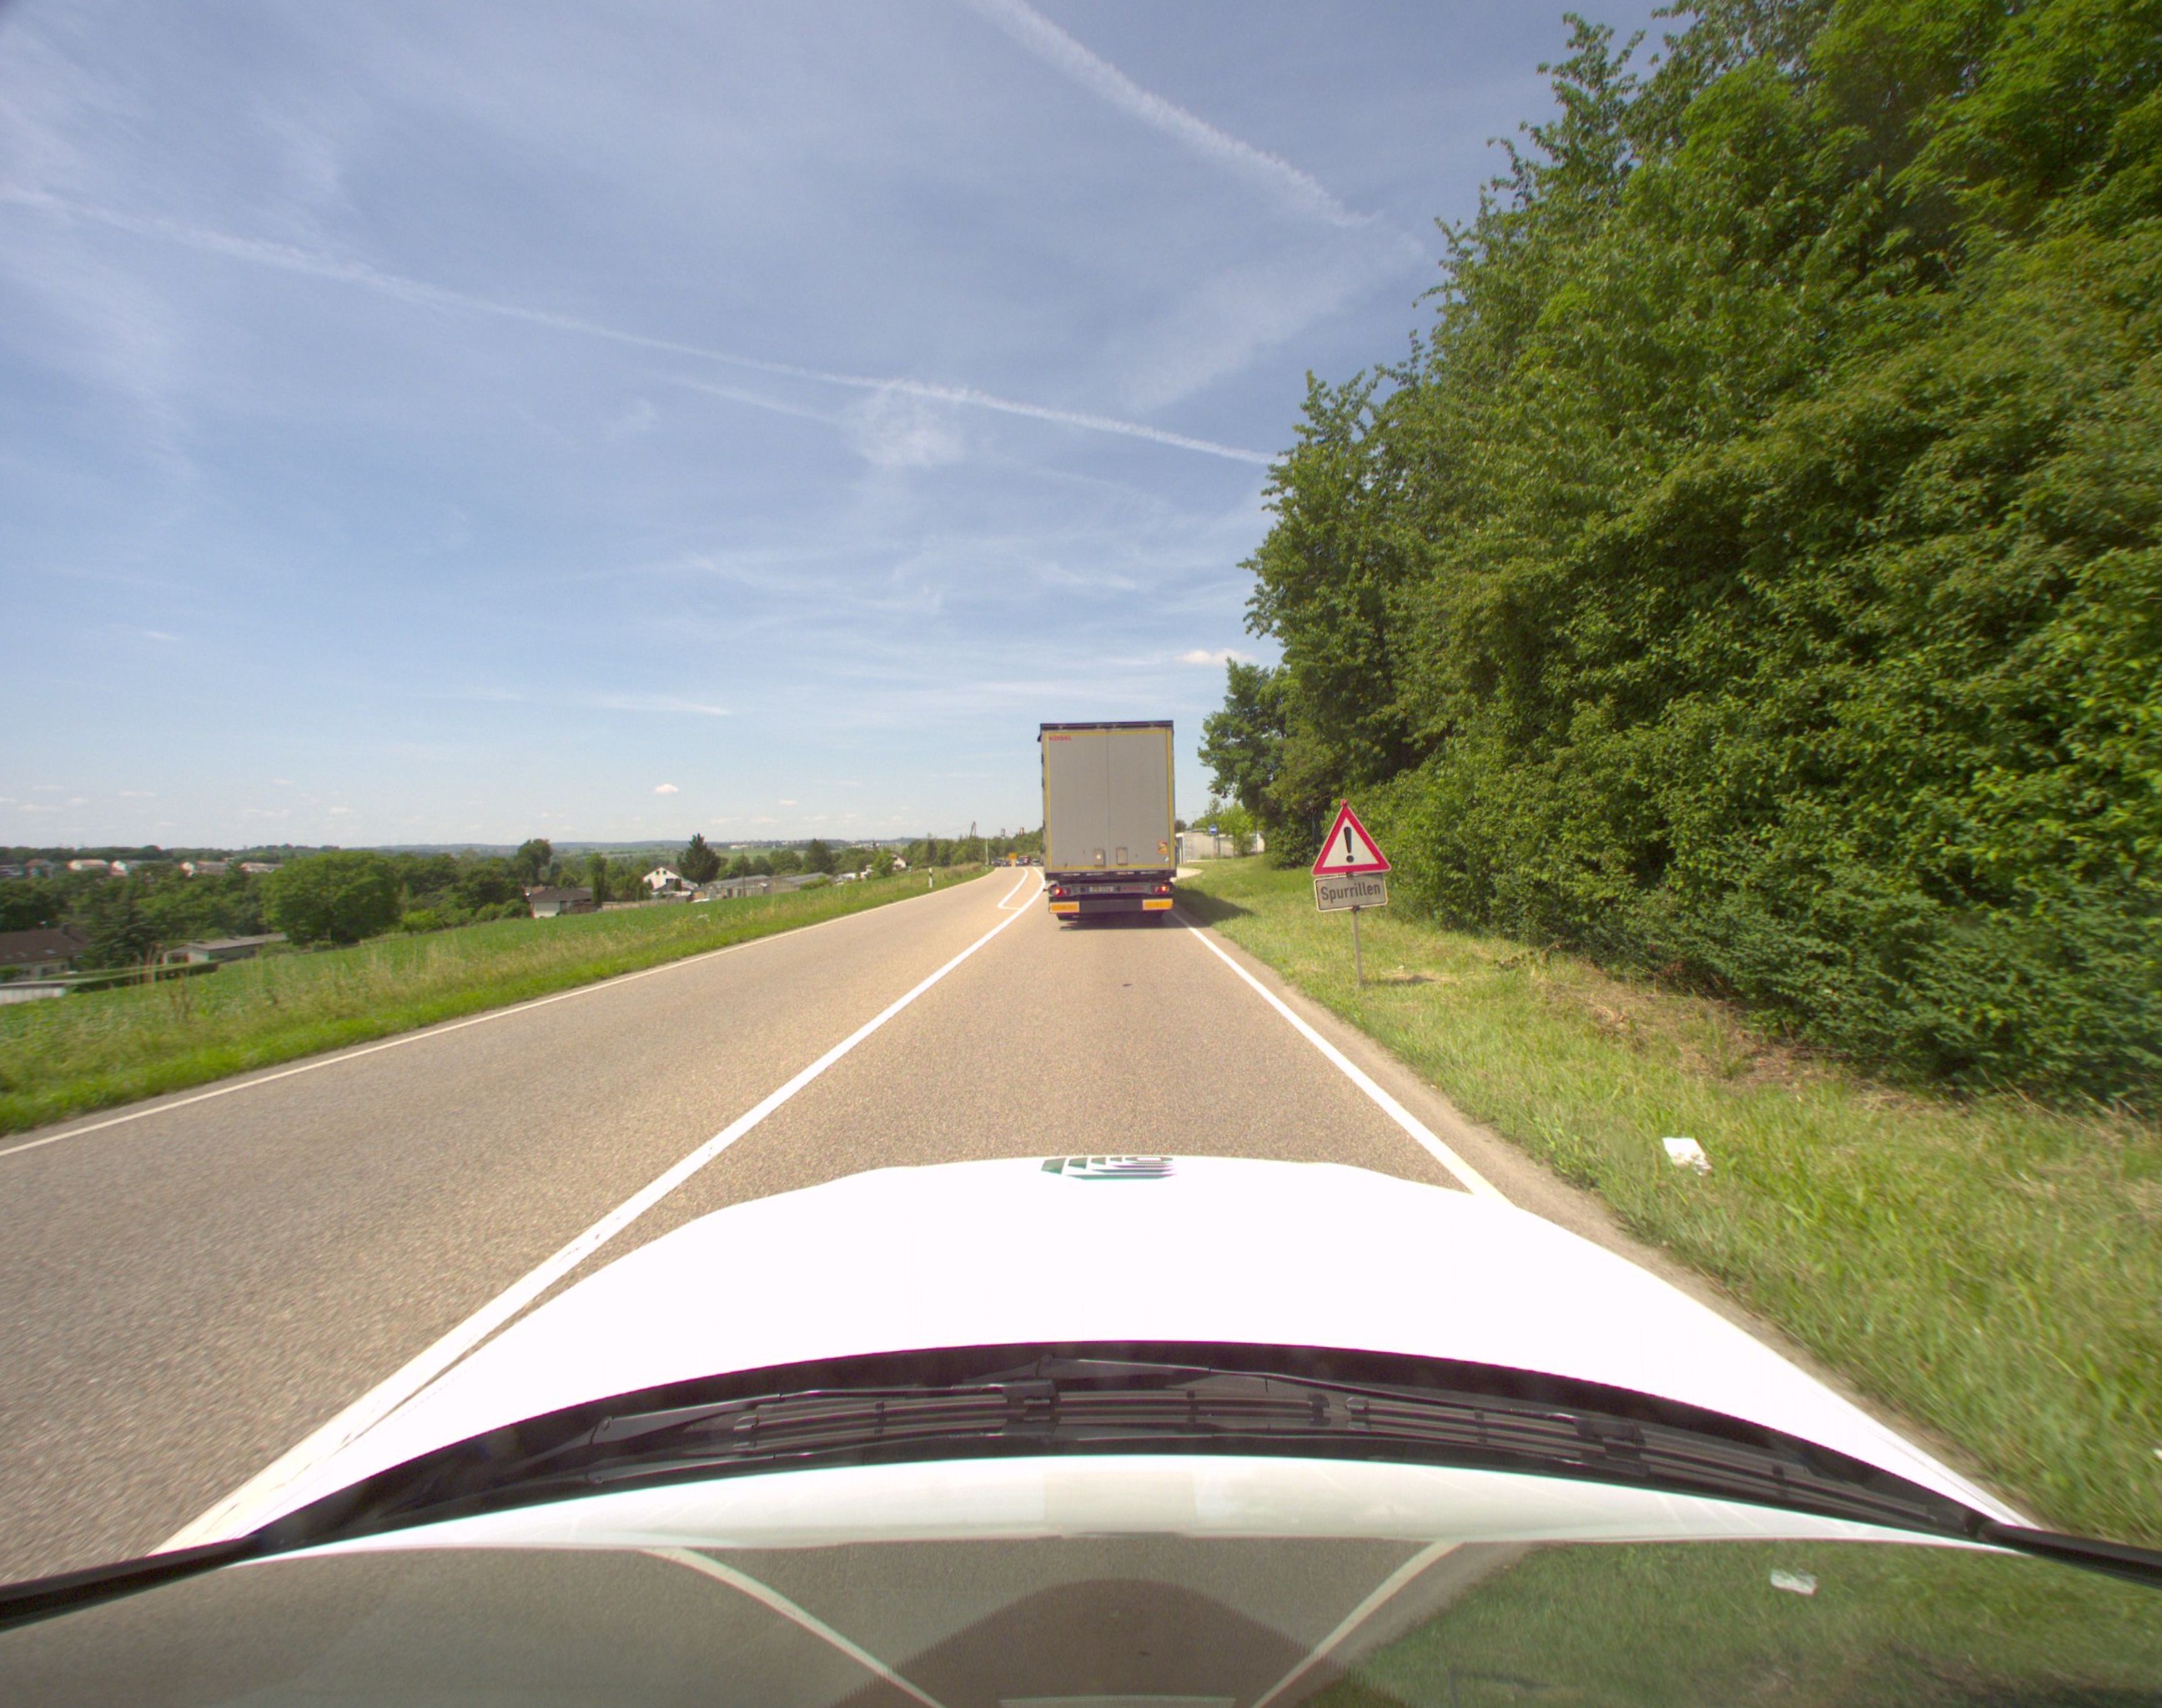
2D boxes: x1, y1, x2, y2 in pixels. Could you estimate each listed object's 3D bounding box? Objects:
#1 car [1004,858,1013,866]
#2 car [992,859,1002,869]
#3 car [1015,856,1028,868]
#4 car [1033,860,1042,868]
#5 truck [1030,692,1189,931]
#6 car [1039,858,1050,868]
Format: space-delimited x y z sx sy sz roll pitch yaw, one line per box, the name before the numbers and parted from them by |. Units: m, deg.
car | -17.038 1.917 190.696 1.990 1.815 4.288 -4 0 -5
car | -18.303 2.153 176.975 1.991 1.978 5.269 -3 0 -5
car | -10.456 1.337 143.656 1.989 1.950 4.498 -3 0 -3
car | -10.328 2.323 192.349 1.887 1.777 4.383 -3 0 -2
truck | 0.506 -0.811 19.590 2.898 4.409 8.857 -1 0 0
car | -7.776 1.876 173.046 2.166 2.013 4.523 -3 0 -2
